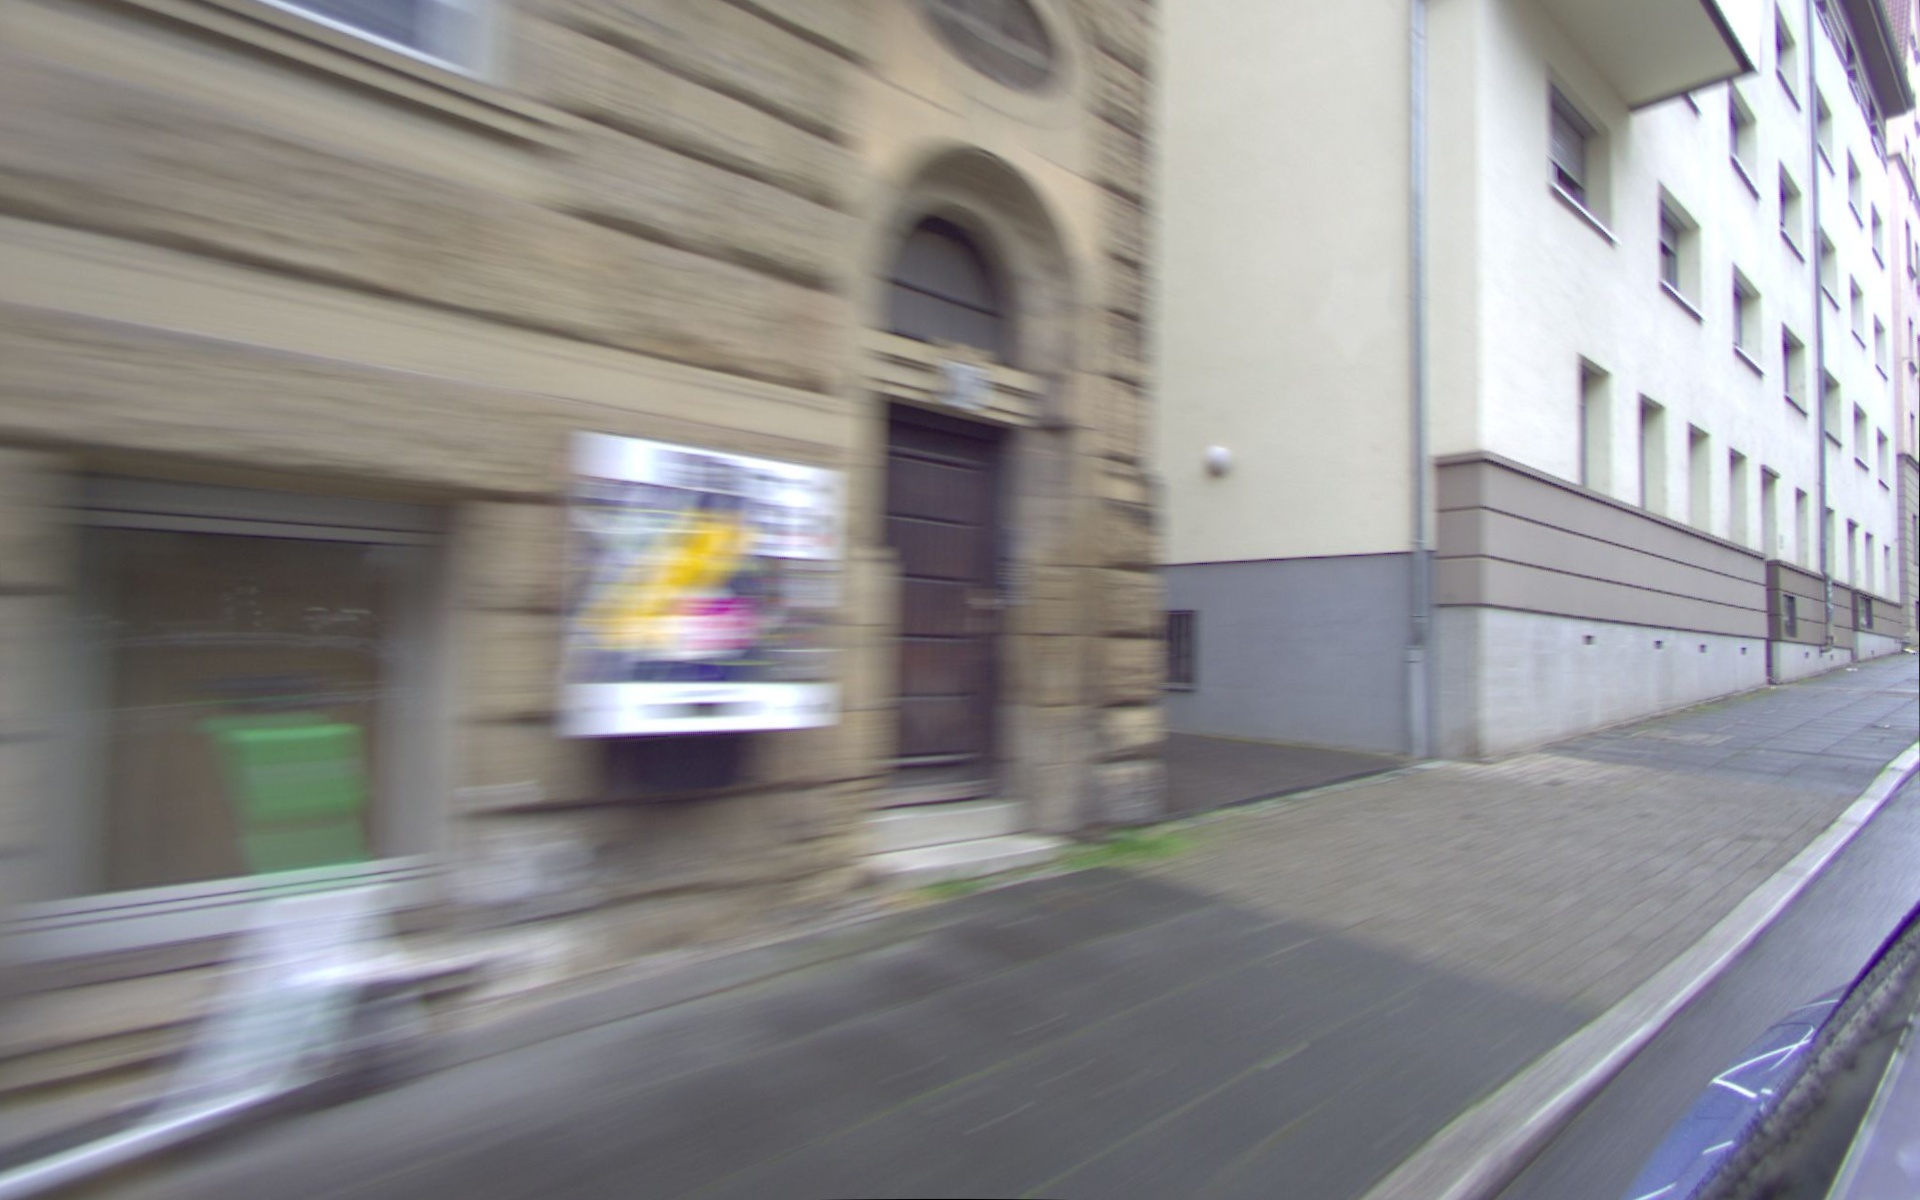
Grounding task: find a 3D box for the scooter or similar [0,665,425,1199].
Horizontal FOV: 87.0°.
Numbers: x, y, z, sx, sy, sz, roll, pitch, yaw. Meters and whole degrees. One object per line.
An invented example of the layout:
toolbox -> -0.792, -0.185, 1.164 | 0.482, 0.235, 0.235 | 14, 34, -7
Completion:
scooter or similar -> -1.831, 0.764, 2.505 | 0.209, 1.125, 0.879 | 1, 2, 39
